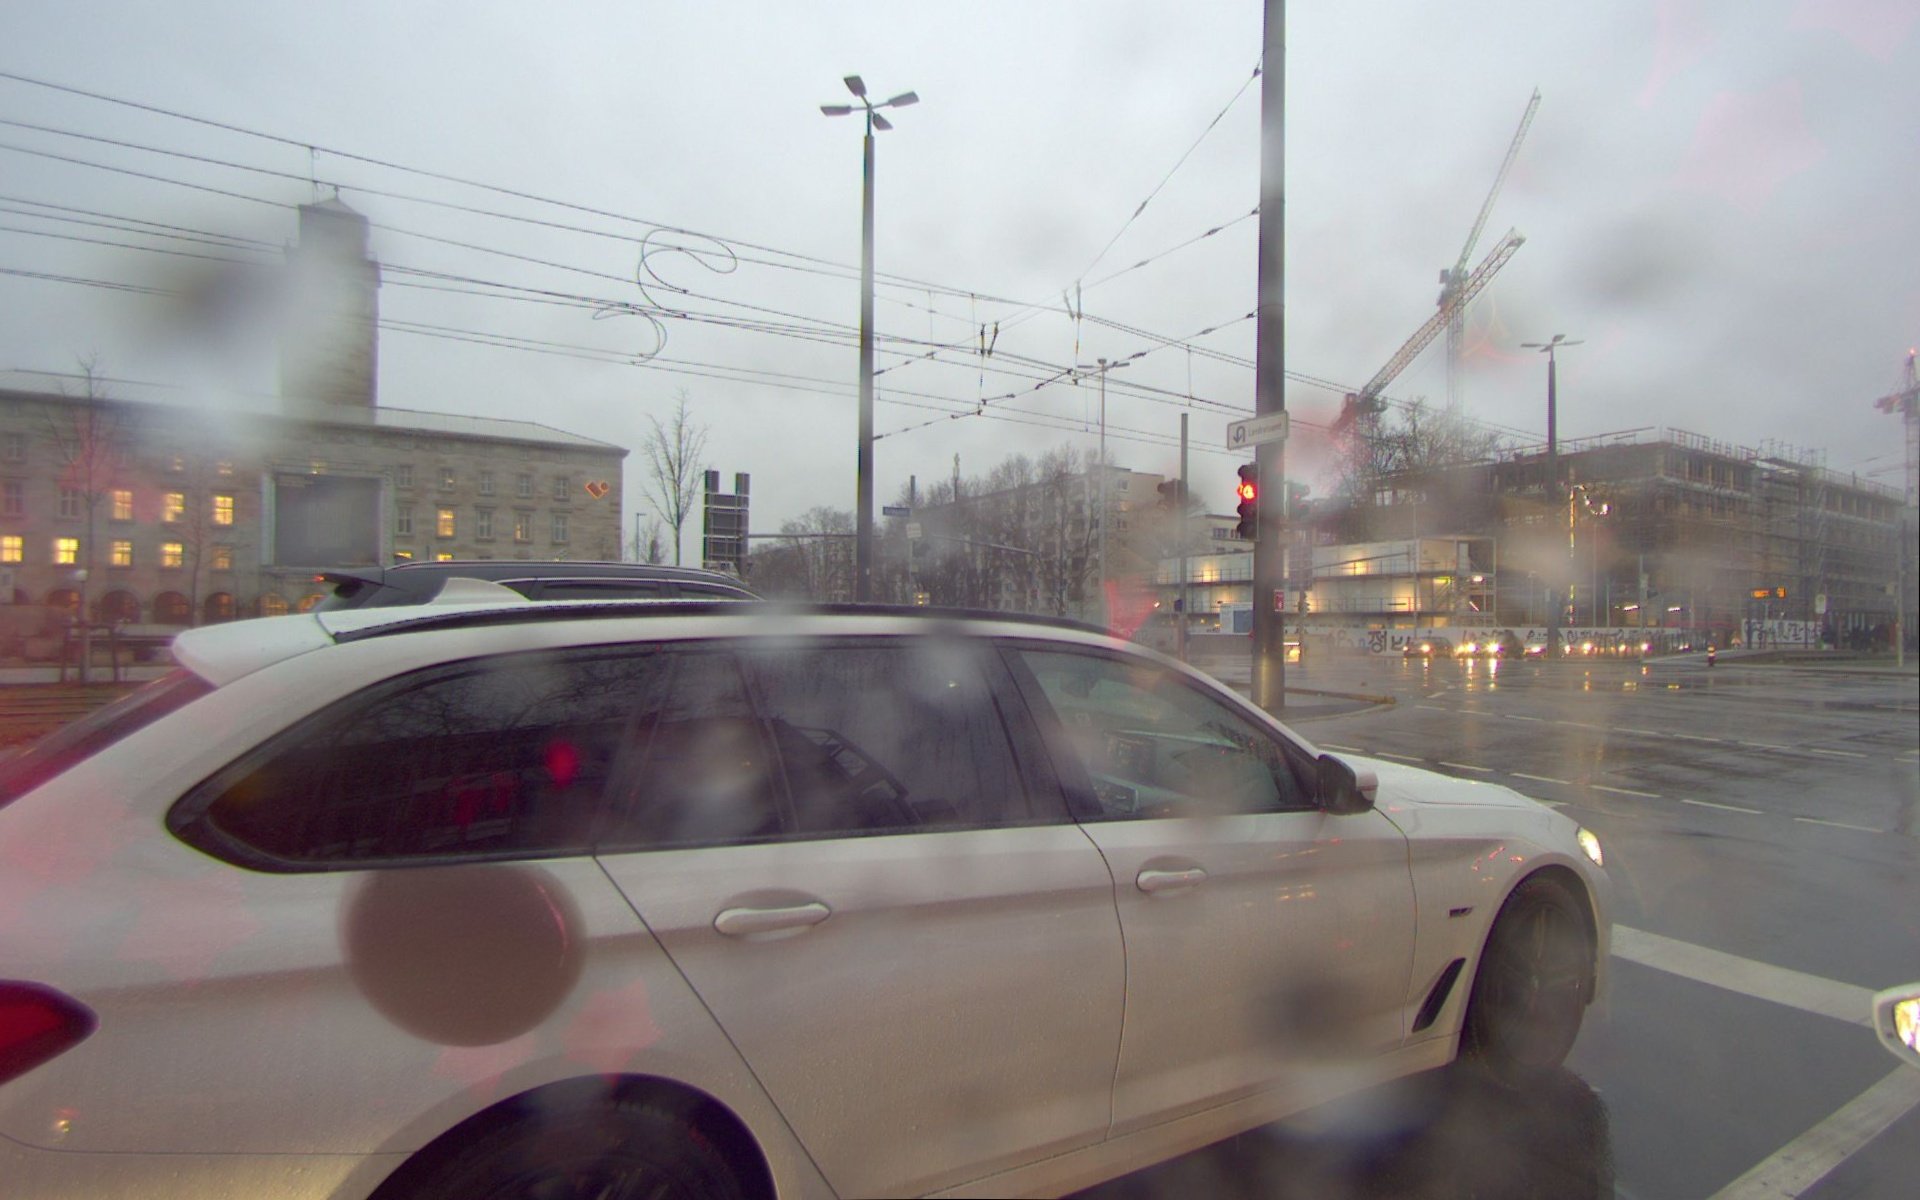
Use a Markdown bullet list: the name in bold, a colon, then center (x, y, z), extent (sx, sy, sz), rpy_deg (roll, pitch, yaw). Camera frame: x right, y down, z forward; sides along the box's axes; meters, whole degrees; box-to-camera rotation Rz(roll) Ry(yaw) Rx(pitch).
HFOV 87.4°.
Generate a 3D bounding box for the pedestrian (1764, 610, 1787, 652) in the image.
- **pedestrian**: center (47.076, 1.802, 58.012), extent (0.754, 2.354, 0.761), rpy_deg (3, -1, -30)

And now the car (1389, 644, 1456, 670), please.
- **car**: center (29.329, 3.588, 63.685), extent (3.953, 1.550, 1.984), rpy_deg (2, -2, -30)

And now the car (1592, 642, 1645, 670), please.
- **car**: center (46.233, 3.937, 70.537), extent (3.966, 1.814, 1.977), rpy_deg (2, 0, -39)

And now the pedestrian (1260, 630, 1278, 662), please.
- **pedestrian**: center (20.027, 2.958, 65.143), extent (0.737, 2.040, 0.783), rpy_deg (2, 0, -25)

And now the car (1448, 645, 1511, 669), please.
- **car**: center (35.005, 3.849, 67.712), extent (3.953, 1.550, 1.984), rpy_deg (2, -2, -30)

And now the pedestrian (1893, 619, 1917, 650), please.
- **pedestrian**: center (65.557, 2.389, 69.684), extent (1.082, 2.040, 0.937), rpy_deg (2, 0, -32)

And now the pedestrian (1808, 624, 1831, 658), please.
- **pedestrian**: center (50.488, 2.406, 59.024), extent (0.754, 1.922, 0.761), rpy_deg (3, -1, -30)

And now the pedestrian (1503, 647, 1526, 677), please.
- **pedestrian**: center (27.130, 3.016, 49.179), extent (0.710, 1.407, 0.731), rpy_deg (2, 0, 4)

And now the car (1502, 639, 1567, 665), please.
- **car**: center (35.890, 3.235, 62.720), extent (4.577, 1.550, 2.059), rpy_deg (2, -2, -40)

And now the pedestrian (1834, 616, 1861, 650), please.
- **pedestrian**: center (55.289, 2.044, 62.592), extent (1.082, 2.040, 0.937), rpy_deg (2, 0, -32)

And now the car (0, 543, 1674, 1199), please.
- **car**: center (-0.003, 0.749, 3.115), extent (4.508, 1.506, 2.007), rpy_deg (2, -2, -31)

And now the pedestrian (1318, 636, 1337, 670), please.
- **pedestrian**: center (24.371, 3.487, 66.551), extent (0.758, 2.194, 0.867), rpy_deg (2, 0, -38)

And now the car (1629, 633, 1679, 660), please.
- **car**: center (50.851, 3.399, 73.542), extent (3.966, 1.814, 1.977), rpy_deg (2, 0, -39)

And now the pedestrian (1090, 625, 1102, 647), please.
- **pedestrian**: center (11.116, 2.977, 82.218), extent (0.714, 1.800, 0.789), rpy_deg (1, -1, -23)

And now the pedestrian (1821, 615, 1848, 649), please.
- **pedestrian**: center (53.783, 1.994, 61.801), extent (1.082, 2.040, 0.937), rpy_deg (2, 0, -32)

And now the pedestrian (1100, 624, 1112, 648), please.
- **pedestrian**: center (12.023, 2.949, 82.733), extent (0.709, 1.927, 0.787), rpy_deg (1, -1, -31)

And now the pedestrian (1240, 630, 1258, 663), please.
- **pedestrian**: center (18.810, 3.017, 65.319), extent (0.620, 2.040, 0.856), rpy_deg (2, 0, -37)

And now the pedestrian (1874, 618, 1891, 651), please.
- **pedestrian**: center (58.053, 2.169, 63.227), extent (0.659, 1.994, 0.566), rpy_deg (2, 1, -36)

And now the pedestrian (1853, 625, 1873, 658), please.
- **pedestrian**: center (53.772, 2.452, 59.819), extent (0.547, 1.906, 0.695), rpy_deg (2, 0, -30)

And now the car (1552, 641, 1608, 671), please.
- **car**: center (41.115, 3.667, 66.590), extent (3.963, 1.852, 1.852), rpy_deg (2, 0, -37)

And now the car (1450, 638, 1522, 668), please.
- **car**: center (30.817, 3.071, 58.851), extent (3.953, 1.679, 1.984), rpy_deg (2, -2, -30)

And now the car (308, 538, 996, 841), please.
- **car**: center (-2.060, 0.550, 7.237), extent (4.238, 1.605, 1.958), rpy_deg (2, -1, -29)
